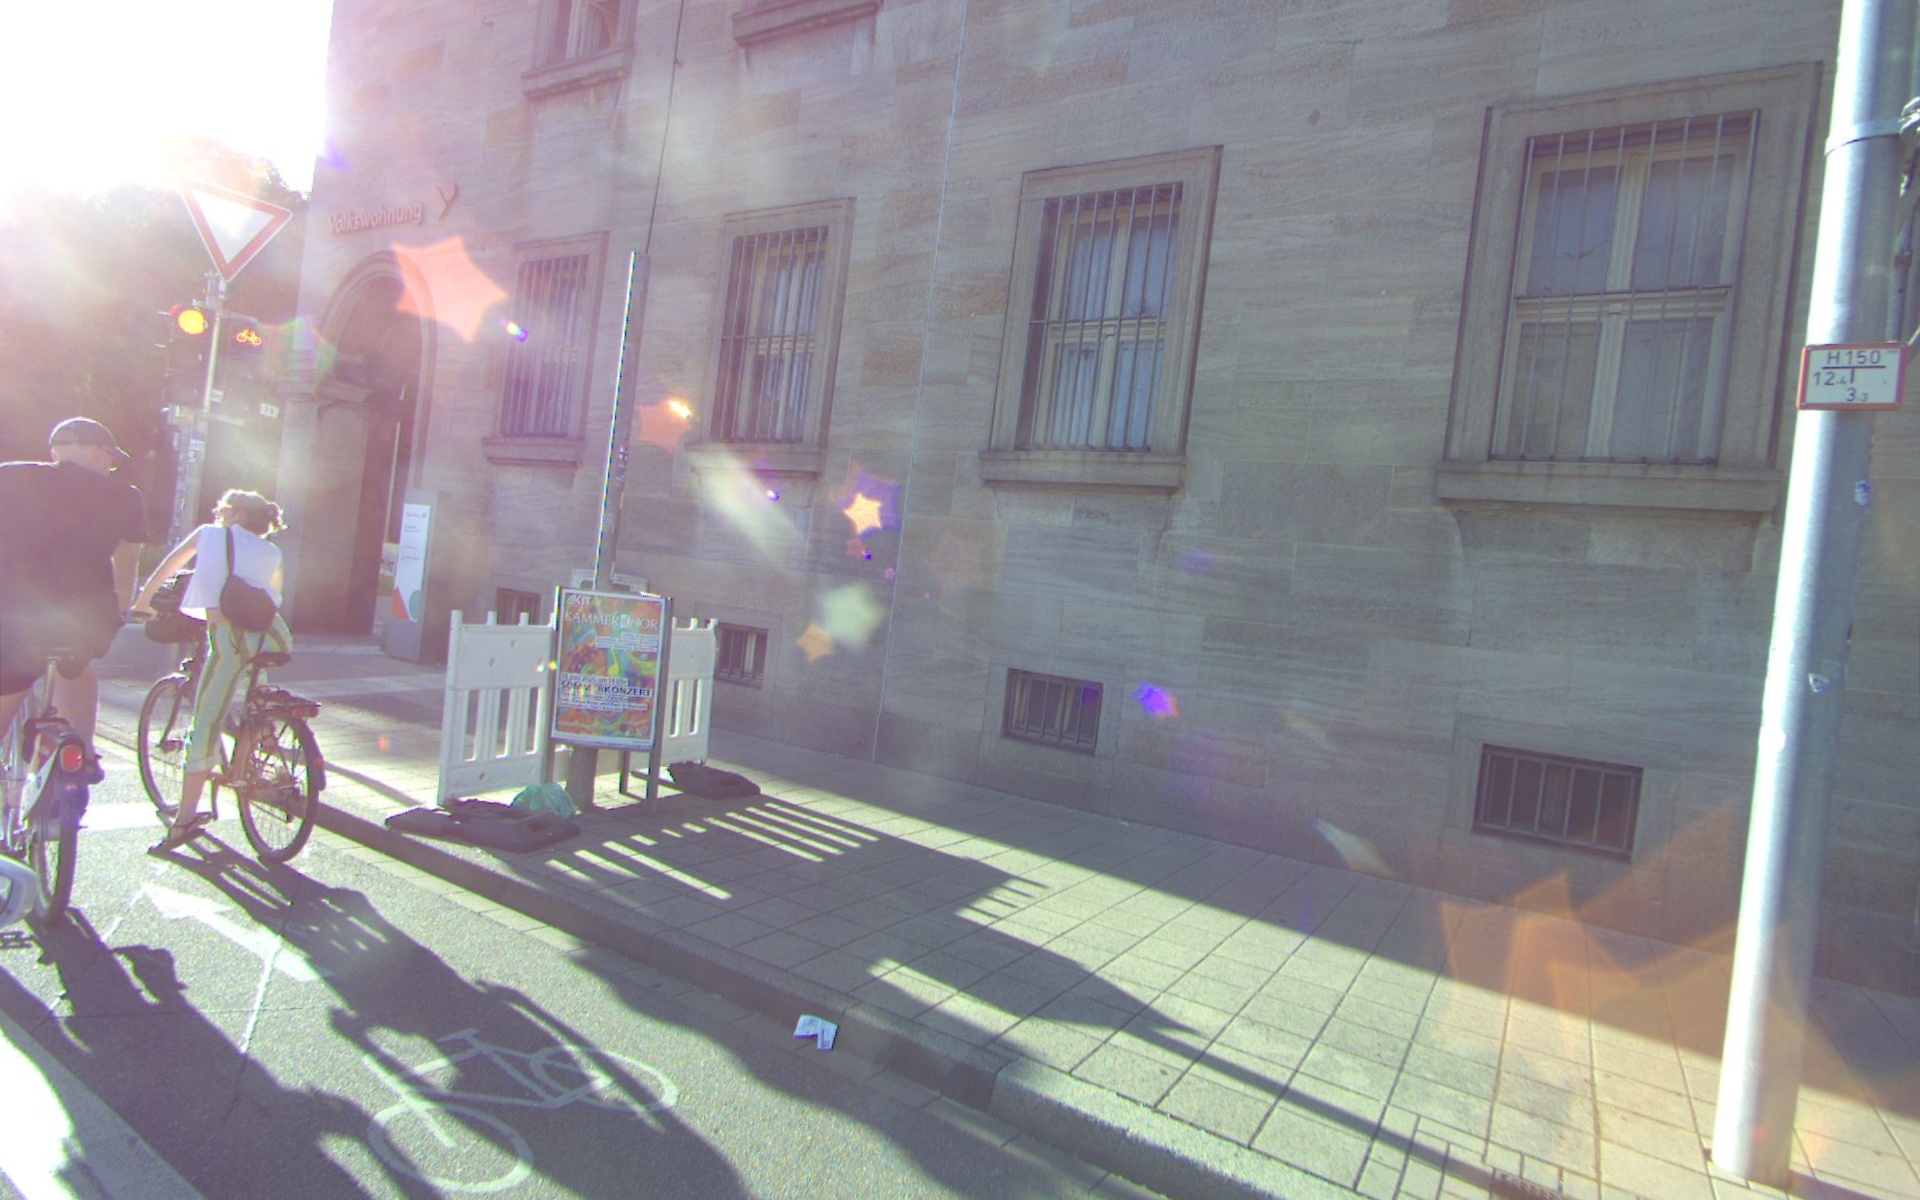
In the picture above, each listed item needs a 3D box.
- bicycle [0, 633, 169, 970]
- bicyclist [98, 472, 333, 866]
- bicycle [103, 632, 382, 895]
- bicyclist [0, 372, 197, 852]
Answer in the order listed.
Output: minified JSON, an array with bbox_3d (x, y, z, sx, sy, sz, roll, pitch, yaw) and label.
[{"bbox_3d":[-3.715,0.693,4.062,1.923,0.916,0.388,7,0,41],"label":"bicycle"},{"bbox_3d":[-3.569,0.293,4.817,0.845,1.700,0.522,7,1,35],"label":"bicyclist"},{"bbox_3d":[-3.572,0.720,4.934,1.920,0.887,0.427,7,0,35],"label":"bicycle"},{"bbox_3d":[-3.538,0.044,3.895,0.647,1.698,0.669,7,1,40],"label":"bicyclist"}]
